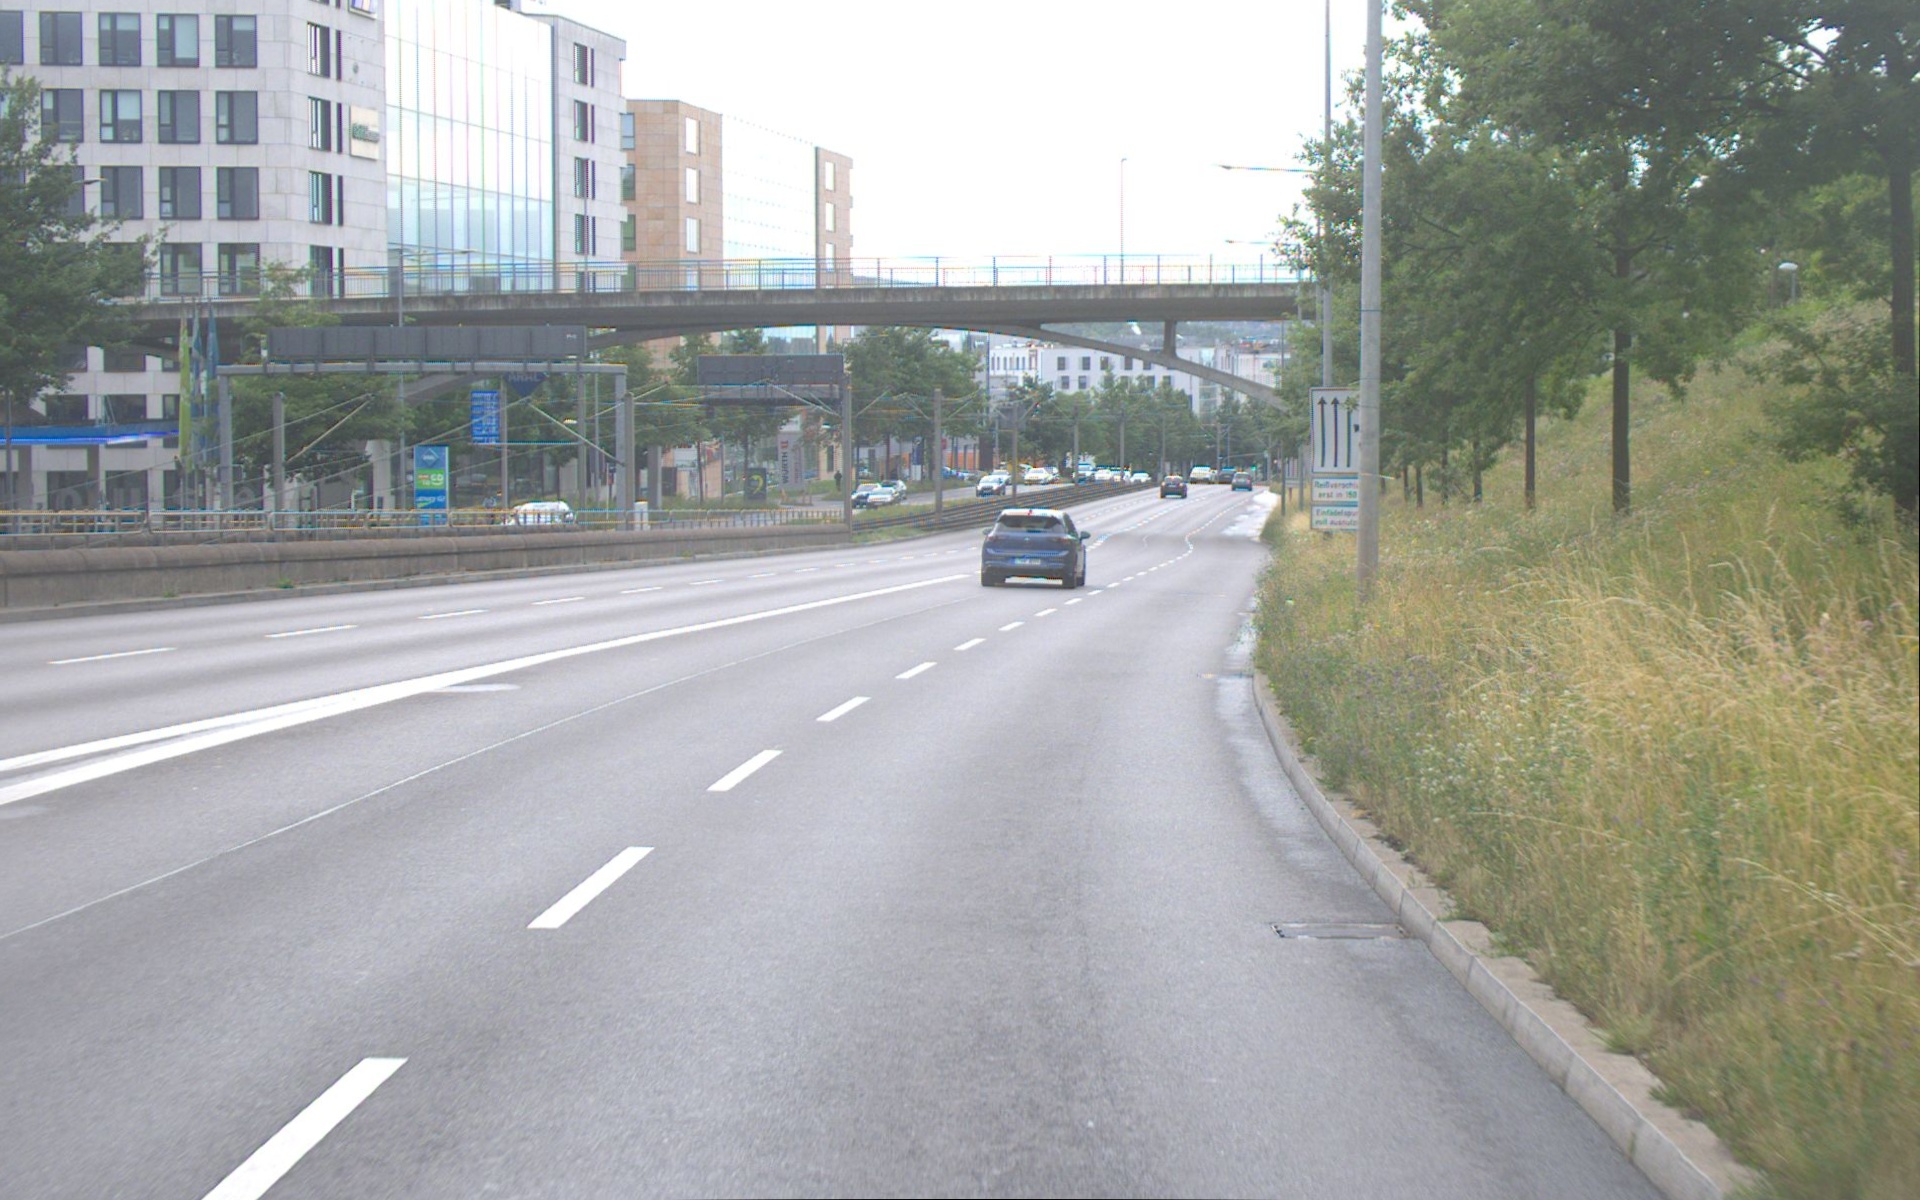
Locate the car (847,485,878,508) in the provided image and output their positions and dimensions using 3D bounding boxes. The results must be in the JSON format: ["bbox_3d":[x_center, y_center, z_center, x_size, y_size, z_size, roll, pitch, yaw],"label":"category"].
[{"bbox_3d":[-6.208,-6.609,218.753,1.518,1.415,3.478,1,3,5],"label":"car"}]

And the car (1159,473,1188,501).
[{"bbox_3d":[15.407,-8.148,248.201,1.863,1.743,4.001,2,5,2],"label":"car"}]

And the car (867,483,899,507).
[{"bbox_3d":[-4.596,-6.301,206.427,1.518,1.415,3.478,1,3,5],"label":"car"}]

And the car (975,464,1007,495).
[{"bbox_3d":[2.285,-8.825,251.920,1.994,2.006,4.001,2,5,4],"label":"car"}]

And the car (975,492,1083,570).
[{"bbox_3d":[1.325,-1.303,64.581,1.749,1.415,3.477,0,1,6],"label":"car"}]
